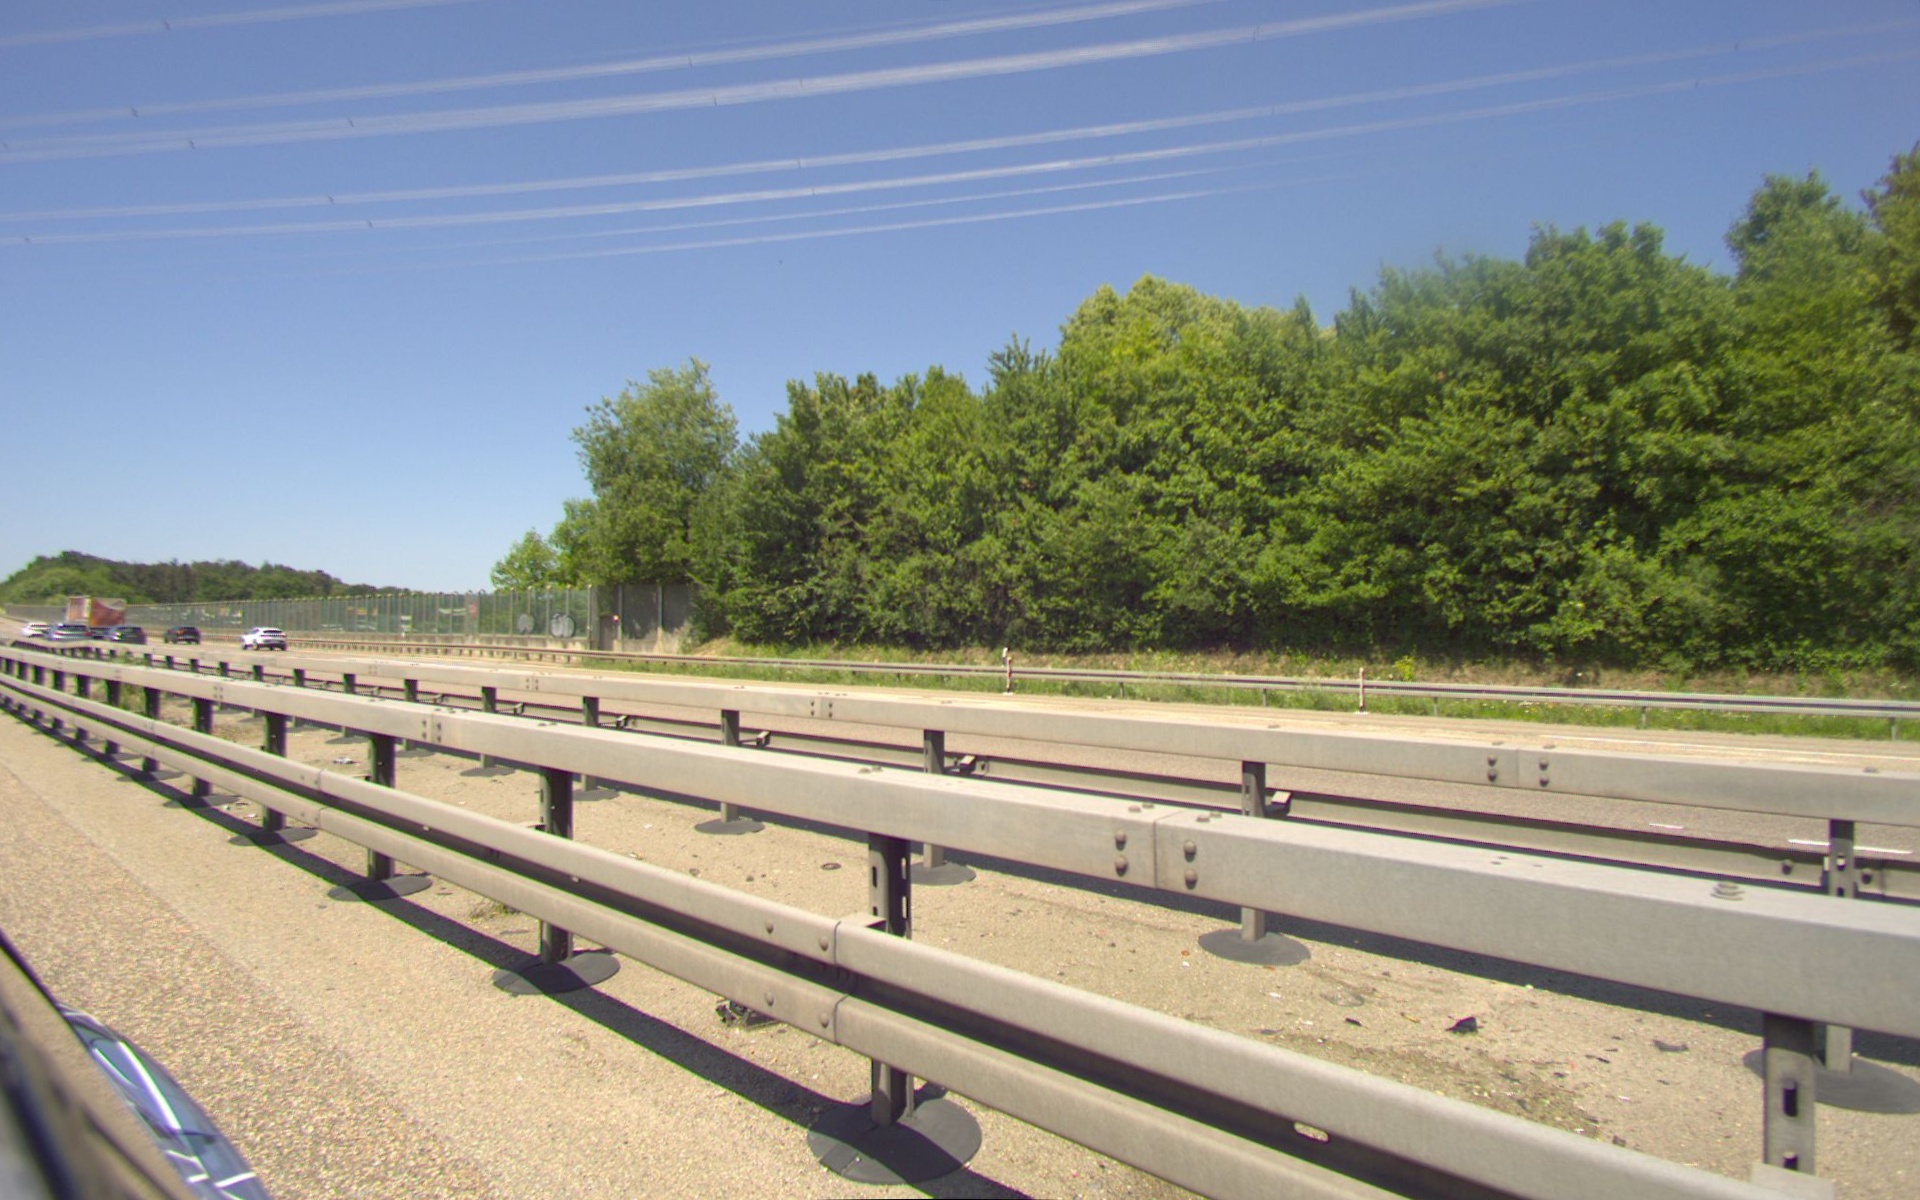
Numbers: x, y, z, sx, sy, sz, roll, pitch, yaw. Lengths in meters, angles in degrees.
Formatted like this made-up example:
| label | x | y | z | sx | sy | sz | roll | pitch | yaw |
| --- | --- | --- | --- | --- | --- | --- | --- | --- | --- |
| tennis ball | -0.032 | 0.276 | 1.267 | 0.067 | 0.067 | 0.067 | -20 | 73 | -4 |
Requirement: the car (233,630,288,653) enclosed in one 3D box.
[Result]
| label | x | y | z | sx | sy | sz | roll | pitch | yaw |
| --- | --- | --- | --- | --- | --- | --- | --- | --- | --- |
| car | -46.496 | 2.737 | 67.272 | 4.338 | 1.467 | 1.670 | -1 | -3 | 37 |

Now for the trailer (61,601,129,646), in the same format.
| label | x | y | z | sx | sy | sz | roll | pitch | yaw |
| --- | --- | --- | --- | --- | --- | --- | --- | --- | --- |
| trailer | -81.765 | 2.295 | 95.539 | 14.675 | 4.007 | 2.734 | -2 | -4 | 42 |

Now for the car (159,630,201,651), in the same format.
| label | x | y | z | sx | sy | sz | roll | pitch | yaw |
| --- | --- | --- | --- | --- | --- | --- | --- | --- | --- |
| car | -64.440 | 3.336 | 83.601 | 5.276 | 1.588 | 1.971 | -1 | 0 | 44 |

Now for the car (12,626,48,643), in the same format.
| label | x | y | z | sx | sy | sz | roll | pitch | yaw |
| --- | --- | --- | --- | --- | --- | --- | --- | --- | --- |
| car | -84.100 | 3.118 | 91.468 | 4.301 | 1.478 | 1.832 | -1 | -2 | 40 |

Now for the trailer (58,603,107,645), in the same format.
| label | x | y | z | sx | sy | sz | roll | pitch | yaw |
| --- | --- | --- | --- | --- | --- | --- | --- | --- | --- |
| trailer | -86.339 | 2.444 | 99.594 | 6.129 | 4.007 | 2.728 | -2 | -4 | 41 |

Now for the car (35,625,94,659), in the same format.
| label | x | y | z | sx | sy | sz | roll | pitch | yaw |
| --- | --- | --- | --- | --- | --- | --- | --- | --- | --- |
| car | -46.199 | 2.132 | 52.193 | 3.948 | 1.643 | 1.755 | -1 | 0 | 40 |

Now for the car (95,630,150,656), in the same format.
| label | x | y | z | sx | sy | sz | roll | pitch | yaw |
| --- | --- | --- | --- | --- | --- | --- | --- | --- | --- |
| car | -51.058 | 2.605 | 61.653 | 4.142 | 1.457 | 1.857 | -1 | -3 | 41 |
